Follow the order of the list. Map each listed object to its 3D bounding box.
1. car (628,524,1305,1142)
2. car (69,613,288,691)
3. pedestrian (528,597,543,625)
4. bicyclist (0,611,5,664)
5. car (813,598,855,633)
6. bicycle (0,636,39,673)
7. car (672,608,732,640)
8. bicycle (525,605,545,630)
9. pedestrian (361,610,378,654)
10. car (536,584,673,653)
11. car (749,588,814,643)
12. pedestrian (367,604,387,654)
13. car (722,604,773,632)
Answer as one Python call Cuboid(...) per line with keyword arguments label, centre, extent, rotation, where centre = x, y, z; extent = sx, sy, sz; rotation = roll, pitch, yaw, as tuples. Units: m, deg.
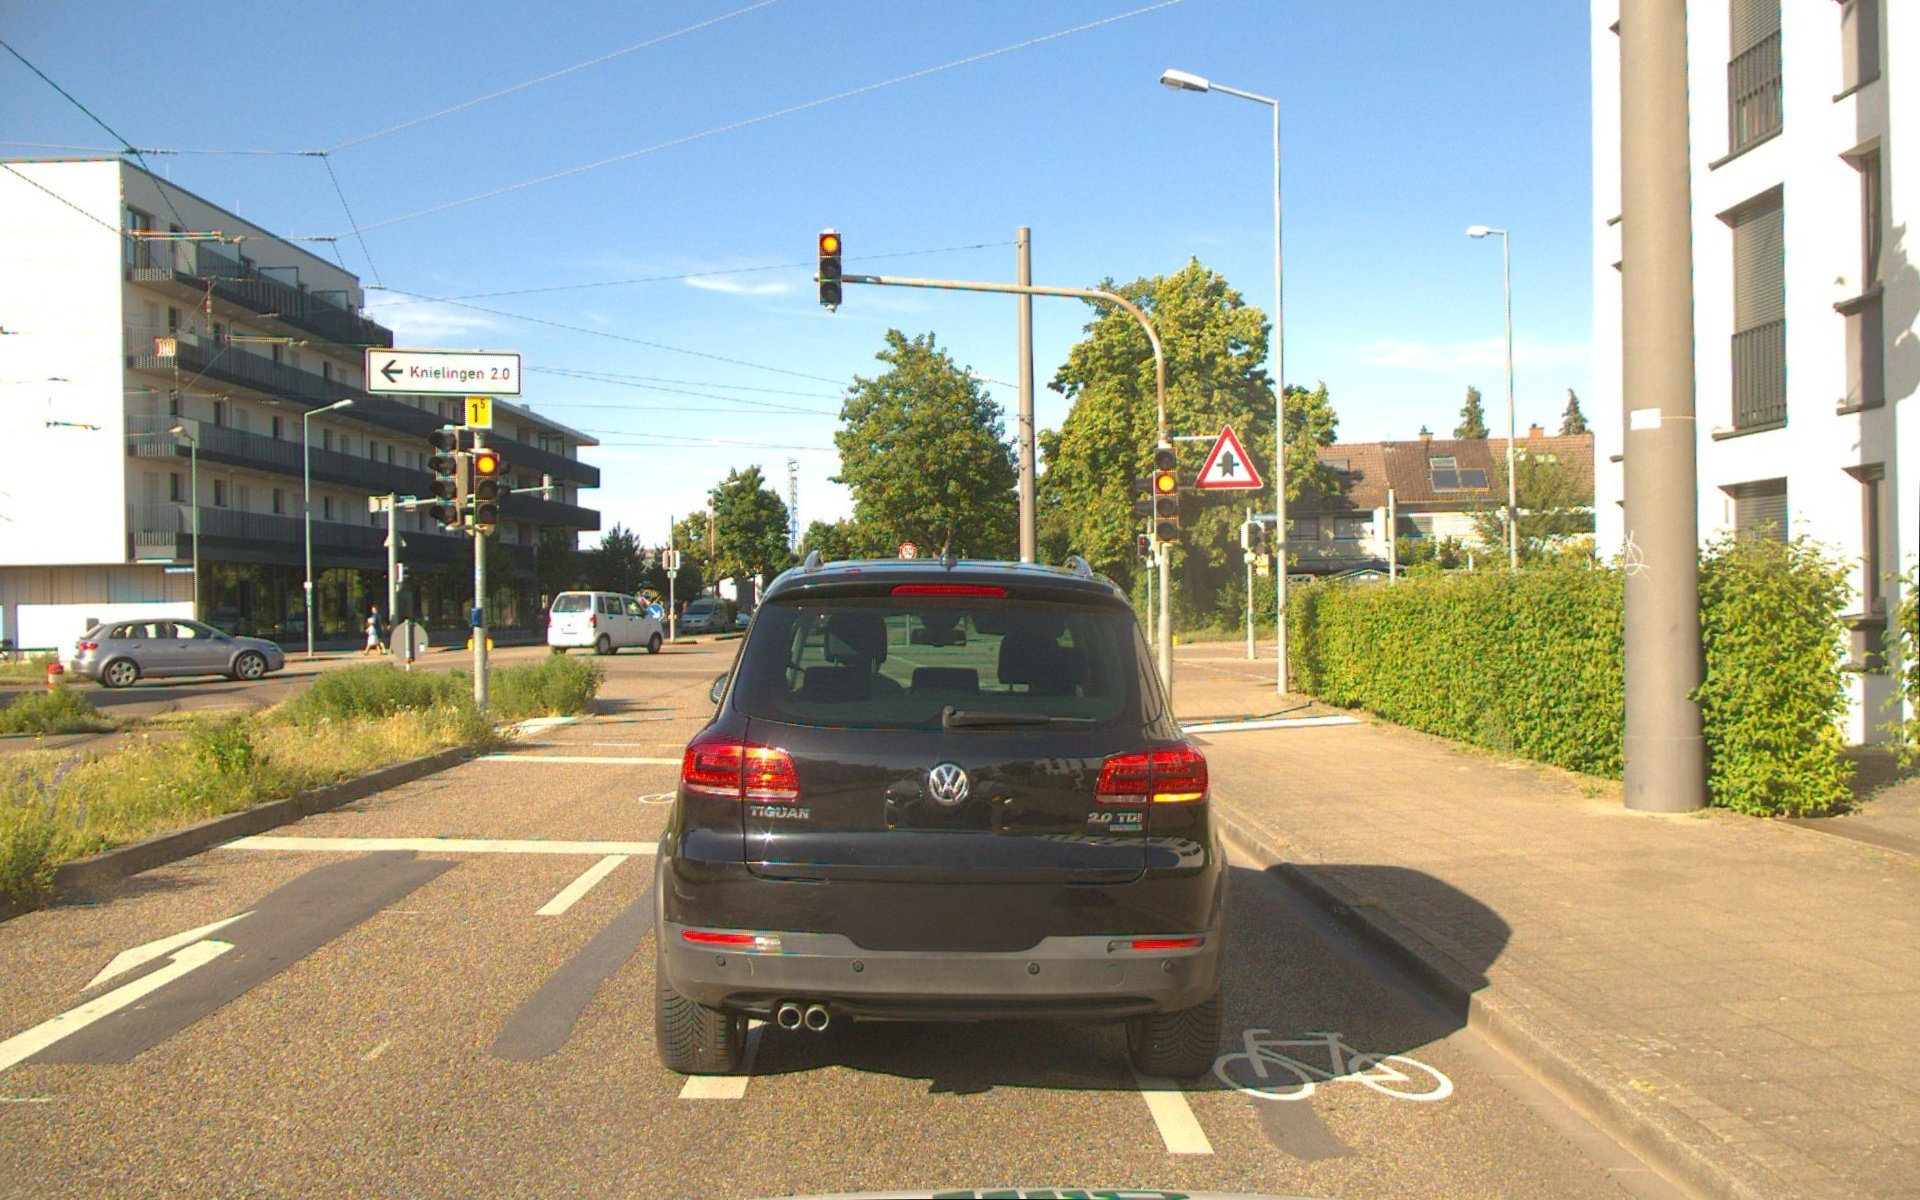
Cuboid(label="car", centre=(-0.004, 0.648, 6.531), extent=(1.831, 1.666, 3.999), rotation=(1, 0, -1))
Cuboid(label="car", centre=(-17.033, 1.091, 36.106), extent=(4.063, 1.511, 1.846), rotation=(-1, 0, -36))
Cuboid(label="pedestrian", centre=(-23.919, 0.631, 93.194), extent=(0.629, 1.535, 0.596), rotation=(1, -1, 0))
Cuboid(label="bicyclist", centre=(-30.644, 1.174, 52.188), extent=(0.771, 1.642, 0.637), rotation=(0, -1, 41))
Cuboid(label="car", centre=(-6.413, 0.797, 84.338), extent=(1.953, 1.713, 3.998), rotation=(1, 0, -2))
Cuboid(label="bicycle", centre=(-30.397, 1.721, 52.506), extent=(0.808, 1.144, 1.849), rotation=(1, -1, 42))
Cuboid(label="car", centre=(-13.421, 1.243, 86.220), extent=(1.951, 1.601, 4.342), rotation=(1, 0, 7))
Cuboid(label="bicycle", centre=(-23.959, 0.993, 93.230), extent=(0.617, 1.355, 1.913), rotation=(1, 0, 1))
Cuboid(label="pedestrian", centre=(-20.680, 1.131, 57.907), extent=(0.433, 1.529, 0.517), rotation=(1, -1, -6))
Cuboid(label="car", centre=(-9.489, 0.462, 44.431), extent=(1.826, 1.750, 3.686), rotation=(0, 0, 23))
Cuboid(label="car", centre=(-6.293, 0.546, 58.735), extent=(1.953, 1.869, 3.998), rotation=(1, 0, -2))
Cuboid(label="pedestrian", centre=(-20.603, 1.017, 58.462), extent=(0.532, 1.774, 0.517), rotation=(1, -1, -6))
Cuboid(label="car", centre=(-12.457, 1.057, 97.305), extent=(1.951, 1.601, 4.342), rotation=(1, 0, 7))
